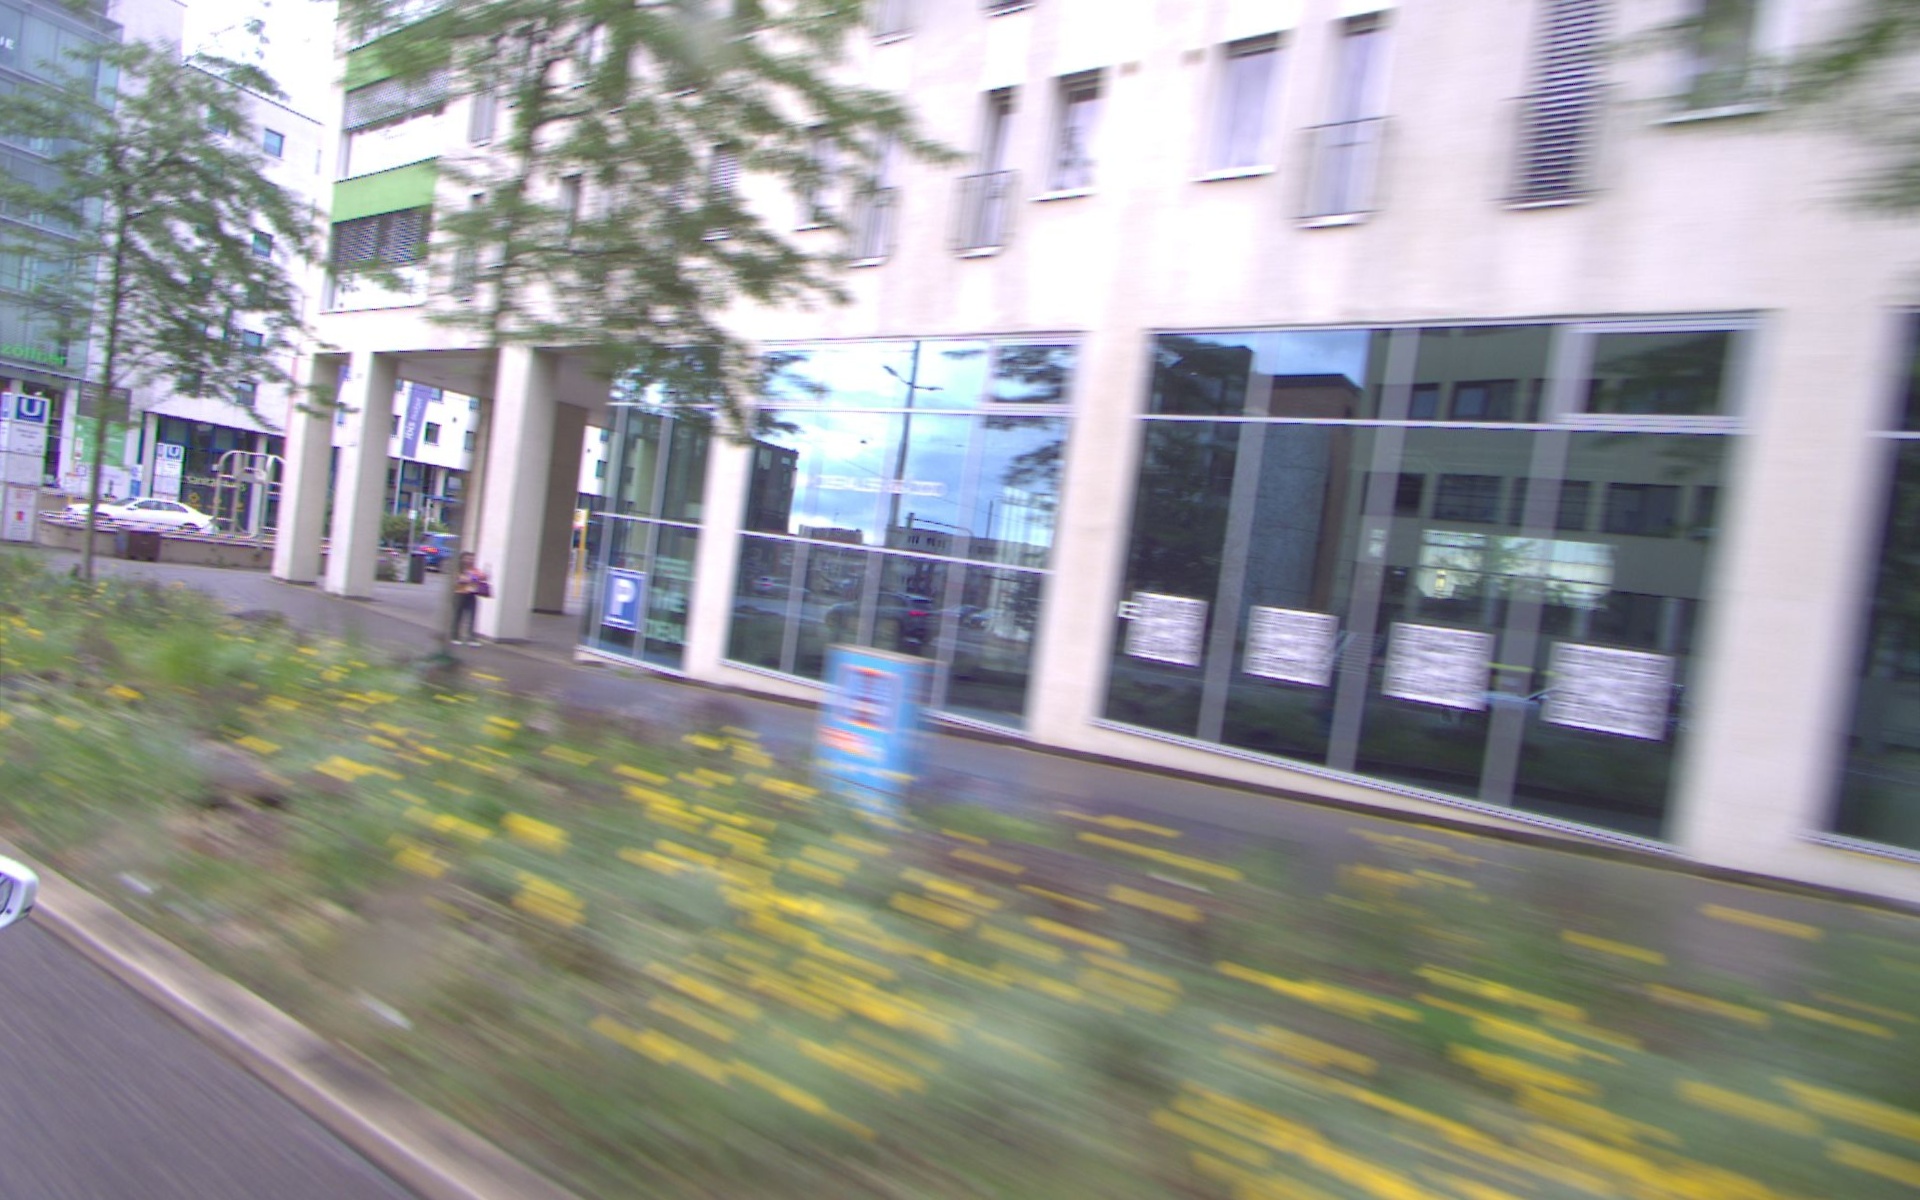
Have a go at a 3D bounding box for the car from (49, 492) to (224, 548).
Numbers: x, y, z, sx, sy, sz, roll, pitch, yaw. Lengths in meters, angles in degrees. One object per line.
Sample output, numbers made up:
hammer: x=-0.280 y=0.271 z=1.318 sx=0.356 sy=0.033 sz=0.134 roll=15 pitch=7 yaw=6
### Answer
car: x=-32.390 y=-3.109 z=39.753 sx=1.792 sy=1.404 sz=4.955 roll=8 pitch=0 yaw=30

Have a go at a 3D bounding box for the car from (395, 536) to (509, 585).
car: x=-22.353 y=-1.713 z=44.408 sx=1.964 sy=1.593 sz=3.997 roll=8 pitch=0 yaw=26

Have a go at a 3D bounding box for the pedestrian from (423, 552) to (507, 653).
pedestrian: x=-9.331 y=0.055 z=18.976 sx=1.072 sy=1.733 sz=0.872 roll=8 pitch=0 yaw=38
